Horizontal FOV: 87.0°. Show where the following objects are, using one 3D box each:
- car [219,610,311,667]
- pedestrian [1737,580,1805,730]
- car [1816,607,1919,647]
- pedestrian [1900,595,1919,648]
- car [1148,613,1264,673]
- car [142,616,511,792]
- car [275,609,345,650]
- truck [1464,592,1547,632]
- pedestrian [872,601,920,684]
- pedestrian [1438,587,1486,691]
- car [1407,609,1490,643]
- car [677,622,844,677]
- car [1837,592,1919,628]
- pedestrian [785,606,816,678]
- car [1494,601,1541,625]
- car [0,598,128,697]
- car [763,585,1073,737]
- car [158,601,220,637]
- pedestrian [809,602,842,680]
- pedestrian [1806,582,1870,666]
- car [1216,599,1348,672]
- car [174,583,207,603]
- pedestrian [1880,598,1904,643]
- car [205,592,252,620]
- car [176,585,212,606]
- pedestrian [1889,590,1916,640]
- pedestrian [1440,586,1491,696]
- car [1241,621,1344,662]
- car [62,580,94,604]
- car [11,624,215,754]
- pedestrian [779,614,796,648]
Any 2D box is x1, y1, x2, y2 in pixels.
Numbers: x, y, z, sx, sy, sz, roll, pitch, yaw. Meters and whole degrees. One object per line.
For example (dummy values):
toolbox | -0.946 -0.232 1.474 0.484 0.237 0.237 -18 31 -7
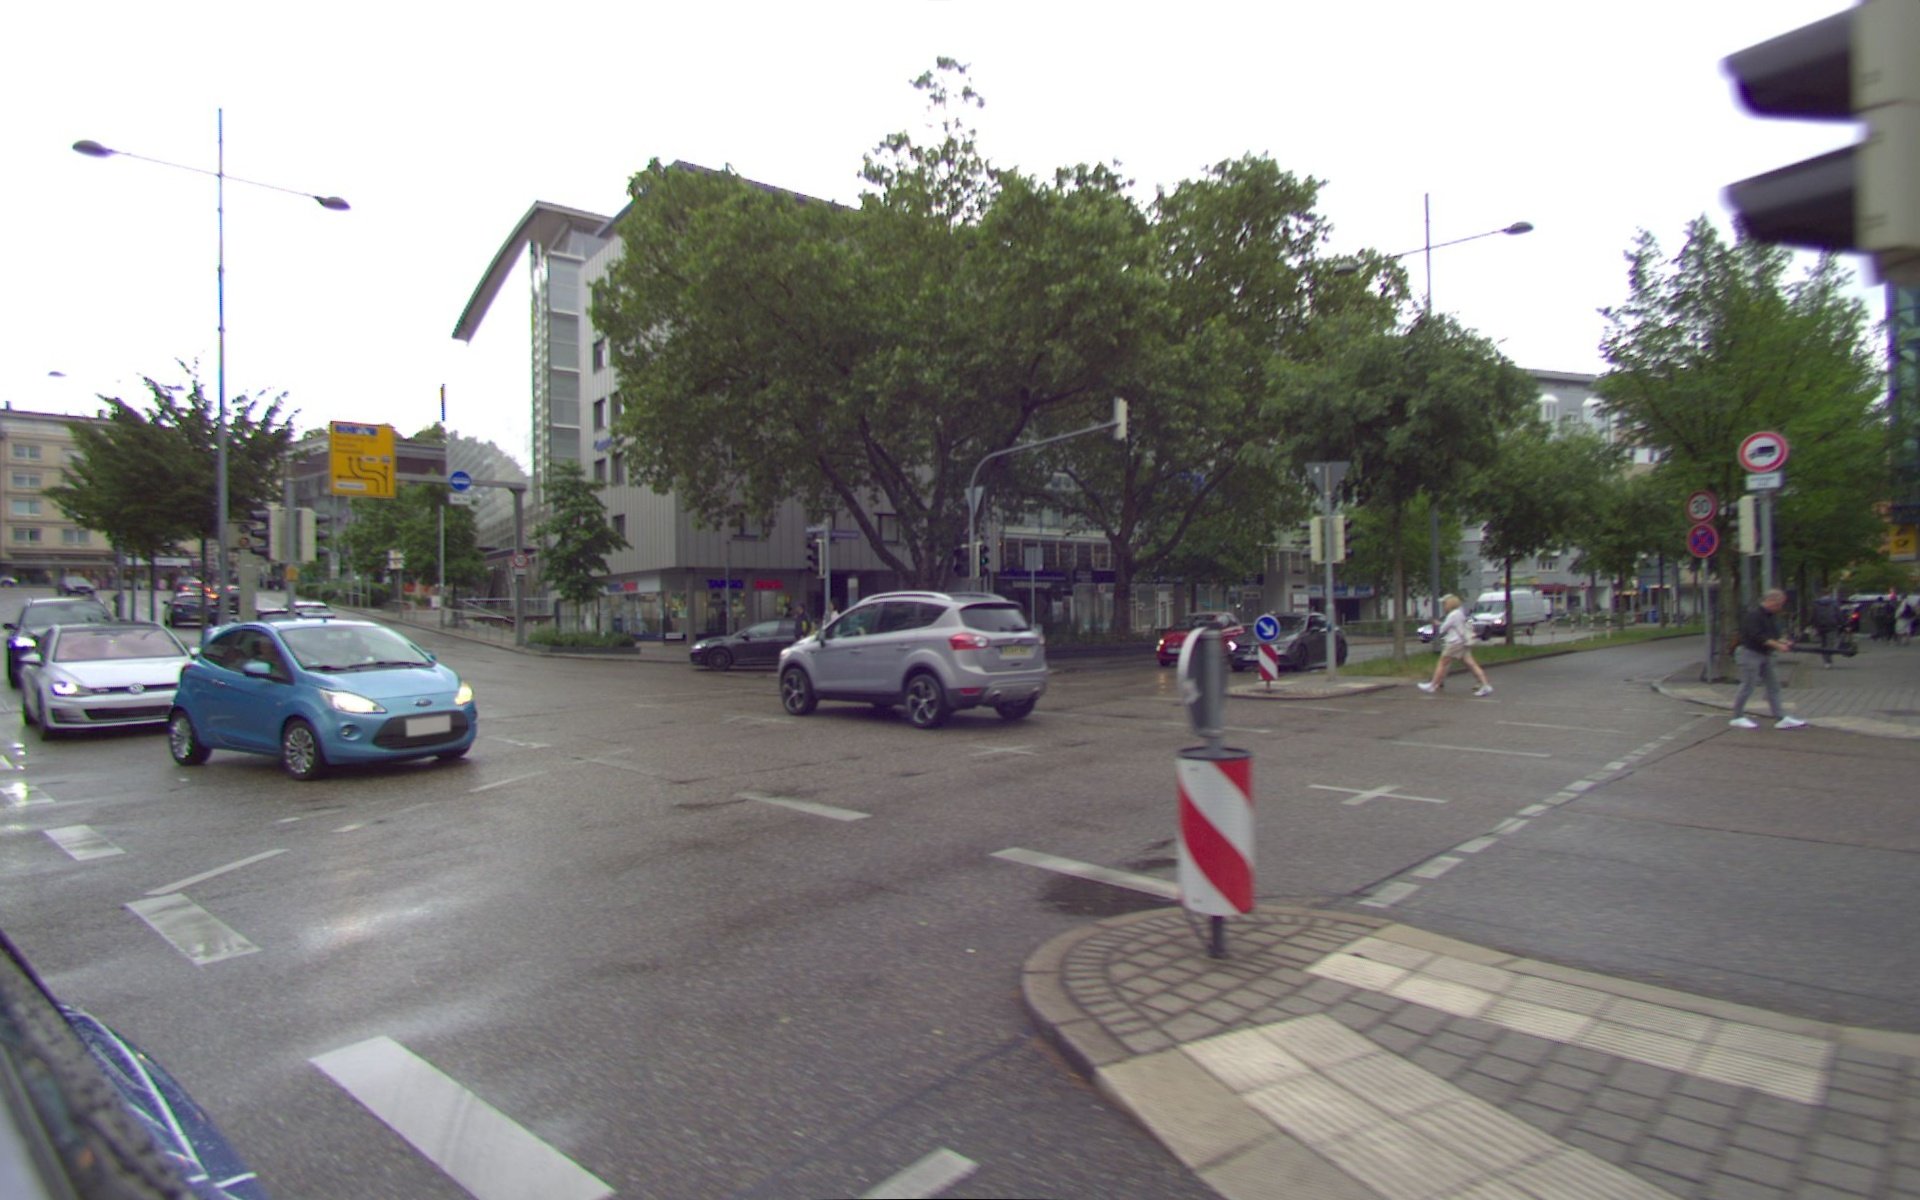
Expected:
car | -20.582 1.113 29.931 3.661 1.567 1.604 -2 -2 45
pedestrian | 9.976 0.652 12.450 0.592 1.777 0.640 2 1 41
car | 41.785 1.211 46.130 3.821 1.674 1.945 -1 2 2
pedestrian | 29.576 0.657 31.383 0.549 1.612 0.530 0 -1 -38
car | 7.199 1.221 29.393 1.700 1.598 3.947 -3 -2 40
car | -6.505 0.937 10.338 3.675 1.485 1.684 -1 -1 30
car | -25.733 1.150 40.006 1.652 1.527 3.646 2 -2 -44
truck | 31.752 0.669 58.839 6.601 2.171 2.003 0 -2 -41
pedestrian | -1.516 0.991 24.063 0.822 1.921 0.854 -1 0 22
pedestrian | 8.737 0.665 17.616 0.593 1.778 0.521 -1 -1 44
car | 23.439 1.217 48.489 3.934 1.567 1.962 0 -1 -37
car | -5.456 1.343 27.838 4.354 1.406 1.938 1 -1 -11
car | 47.945 0.500 52.051 3.826 1.674 1.942 -1 2 7
pedestrian | -3.987 1.052 25.253 0.677 1.777 0.406 -4 -3 44
car | 48.626 1.095 88.282 3.745 1.762 1.923 -3 3 -28
car | -20.061 0.934 22.559 1.970 1.790 4.890 -3 3 -43
car | -0.713 0.744 13.808 1.806 1.749 4.313 1 -2 -45
car | -34.083 0.837 44.700 1.693 1.490 3.960 3 -2 -44
pedestrian | -3.263 0.985 24.526 0.676 1.851 0.442 2 1 42
pedestrian | 19.133 0.517 22.067 0.642 1.794 0.796 1 -2 -11
car | 8.133 0.880 25.465 3.548 1.709 1.638 1 -3 -44
car | -63.968 -0.582 84.077 1.969 1.520 4.192 0 2 -40
pedestrian | 33.826 0.726 36.719 0.549 1.612 0.530 0 -1 -38
car | -41.411 0.334 57.250 1.599 1.503 3.882 3 -2 -44
car | -54.586 -0.318 72.101 1.606 1.448 3.650 1 1 -44
pedestrian | 31.162 0.495 33.460 0.549 1.612 0.530 0 -1 -38
pedestrian | 8.419 0.670 16.854 0.593 1.777 0.521 -1 3 44
car | 12.876 1.568 39.120 3.934 1.475 1.868 0 -1 -37
car | -68.356 -0.634 78.413 1.805 1.749 4.005 1 1 -43
car | -11.828 1.105 14.041 4.001 1.420 1.745 0 1 44
pedestrian | -8.622 1.530 50.644 0.613 1.669 0.634 0 1 -38
